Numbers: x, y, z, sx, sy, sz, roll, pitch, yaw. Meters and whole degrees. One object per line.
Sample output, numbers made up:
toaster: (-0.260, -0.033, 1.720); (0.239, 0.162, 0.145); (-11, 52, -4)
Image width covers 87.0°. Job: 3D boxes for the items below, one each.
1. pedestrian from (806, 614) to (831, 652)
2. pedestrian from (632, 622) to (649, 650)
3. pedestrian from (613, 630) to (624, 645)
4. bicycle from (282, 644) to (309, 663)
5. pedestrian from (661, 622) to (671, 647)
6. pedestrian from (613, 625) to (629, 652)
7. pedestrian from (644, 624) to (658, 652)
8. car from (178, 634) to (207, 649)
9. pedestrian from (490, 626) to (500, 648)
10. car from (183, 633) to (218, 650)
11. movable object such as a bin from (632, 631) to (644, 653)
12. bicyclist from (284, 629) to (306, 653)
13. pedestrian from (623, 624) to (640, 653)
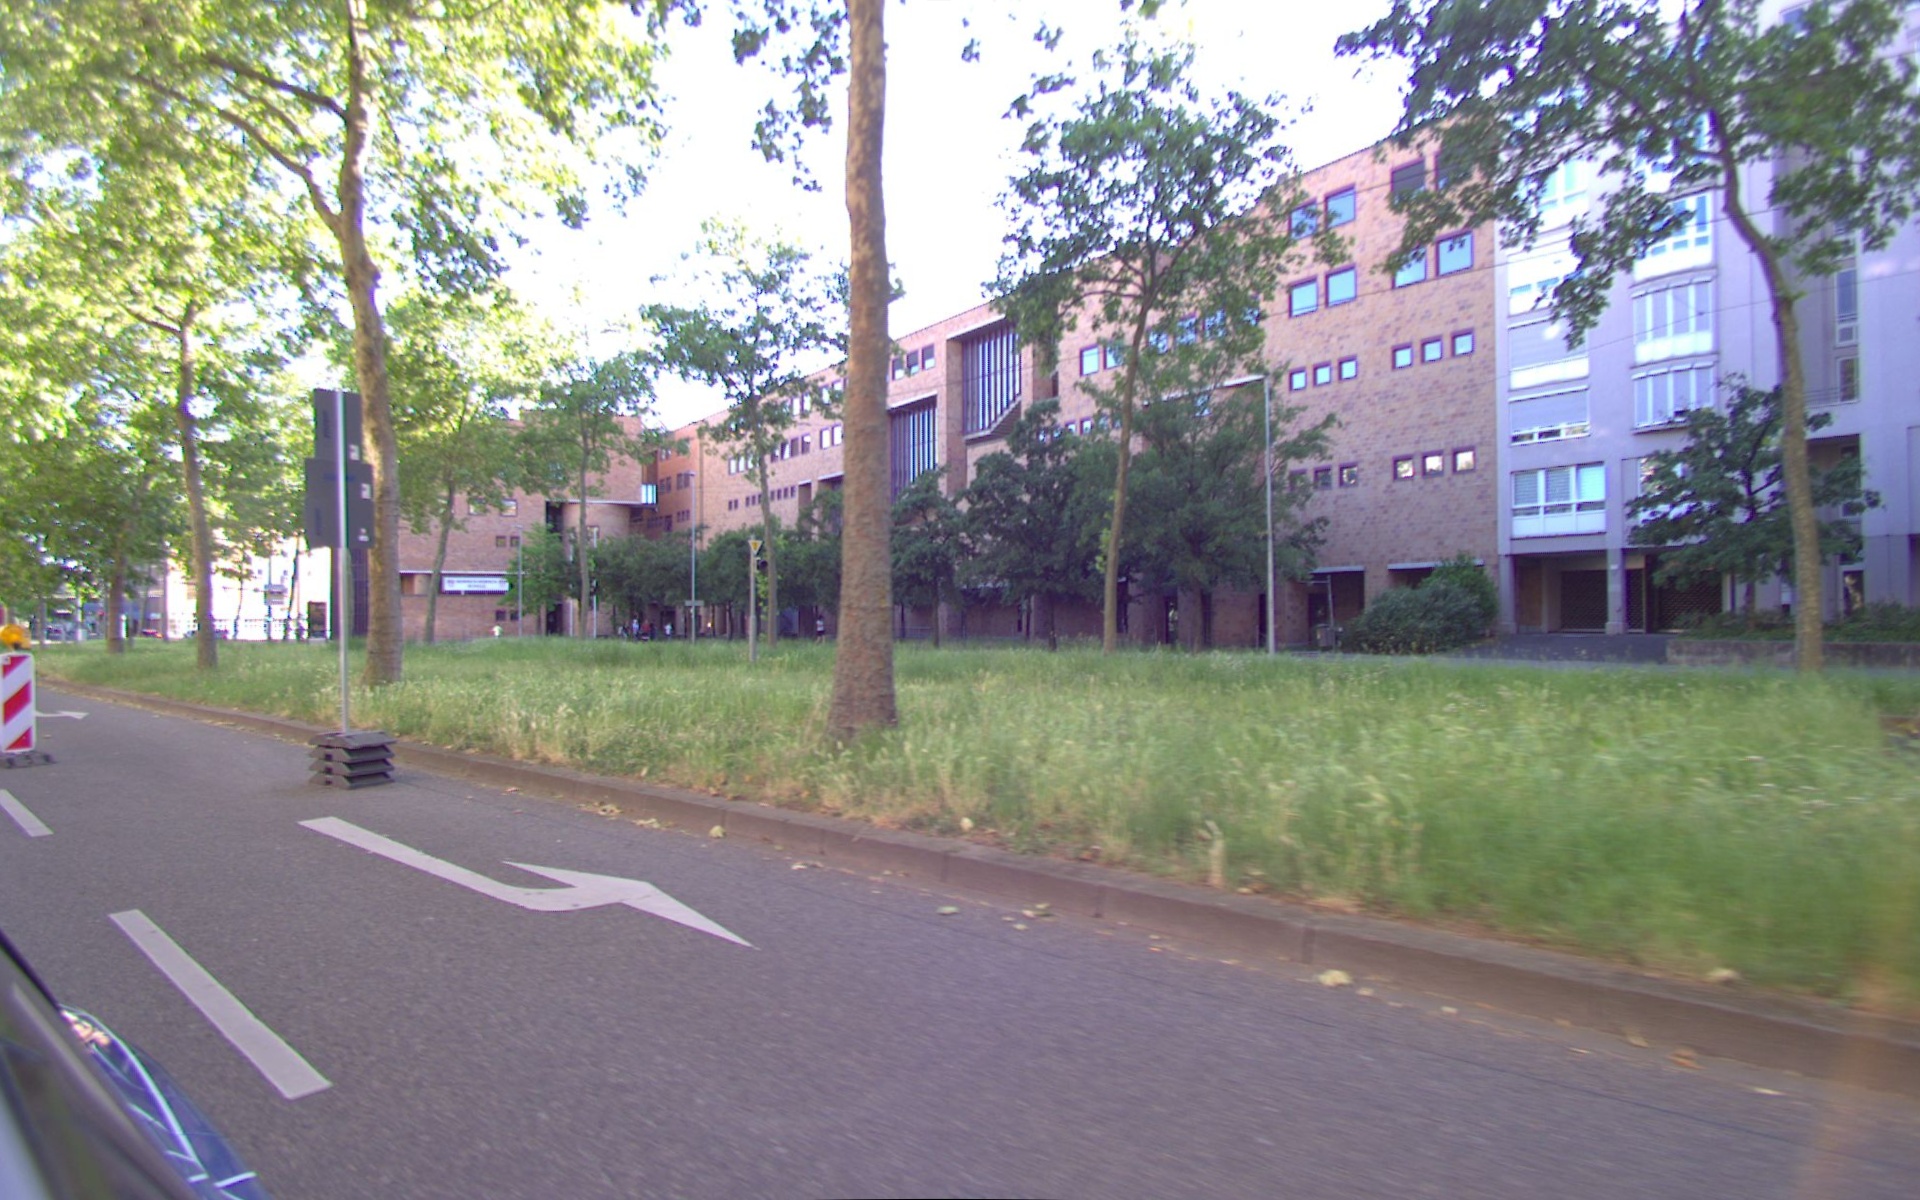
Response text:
pedestrian: (-7.038, 1.649, 50.311); (0.897, 1.845, 0.818); (-2, -2, 29)
pedestrian: (-19.365, 2.179, 61.360); (0.756, 1.629, 0.657); (-2, -2, 41)
pedestrian: (-28.393, 3.092, 84.195); (0.628, 1.207, 0.659); (-2, -2, 32)
bicycle: (-44.213, 3.542, 67.337); (2.436, 1.134, 0.946); (-1, -1, 43)
pedestrian: (-17.937, 2.110, 61.756); (0.477, 1.517, 0.464); (1, -2, -42)
pedestrian: (-20.711, 2.372, 61.788); (0.756, 1.629, 0.657); (-2, -2, 41)
pedestrian: (-18.828, 2.304, 61.666); (0.596, 1.692, 0.604); (-2, -2, 41)
car: (-72.256, 3.910, 95.261); (3.220, 1.440, 1.596); (-2, -2, 41)
pedestrian: (-34.092, 2.720, 74.166); (0.651, 1.555, 0.413); (-2, -2, 34)
car: (-67.963, 3.726, 90.584); (4.147, 1.440, 1.653); (-2, -2, 41)
movable object such as a bin: (-19.141, 2.501, 60.122); (0.756, 1.289, 0.352); (-2, -2, 42)
bicyclist: (-44.359, 2.732, 67.496); (1.209, 1.583, 0.931); (-2, -2, 42)
pedestrian: (-19.701, 2.301, 60.662); (0.796, 1.735, 0.657); (-2, -2, 41)
